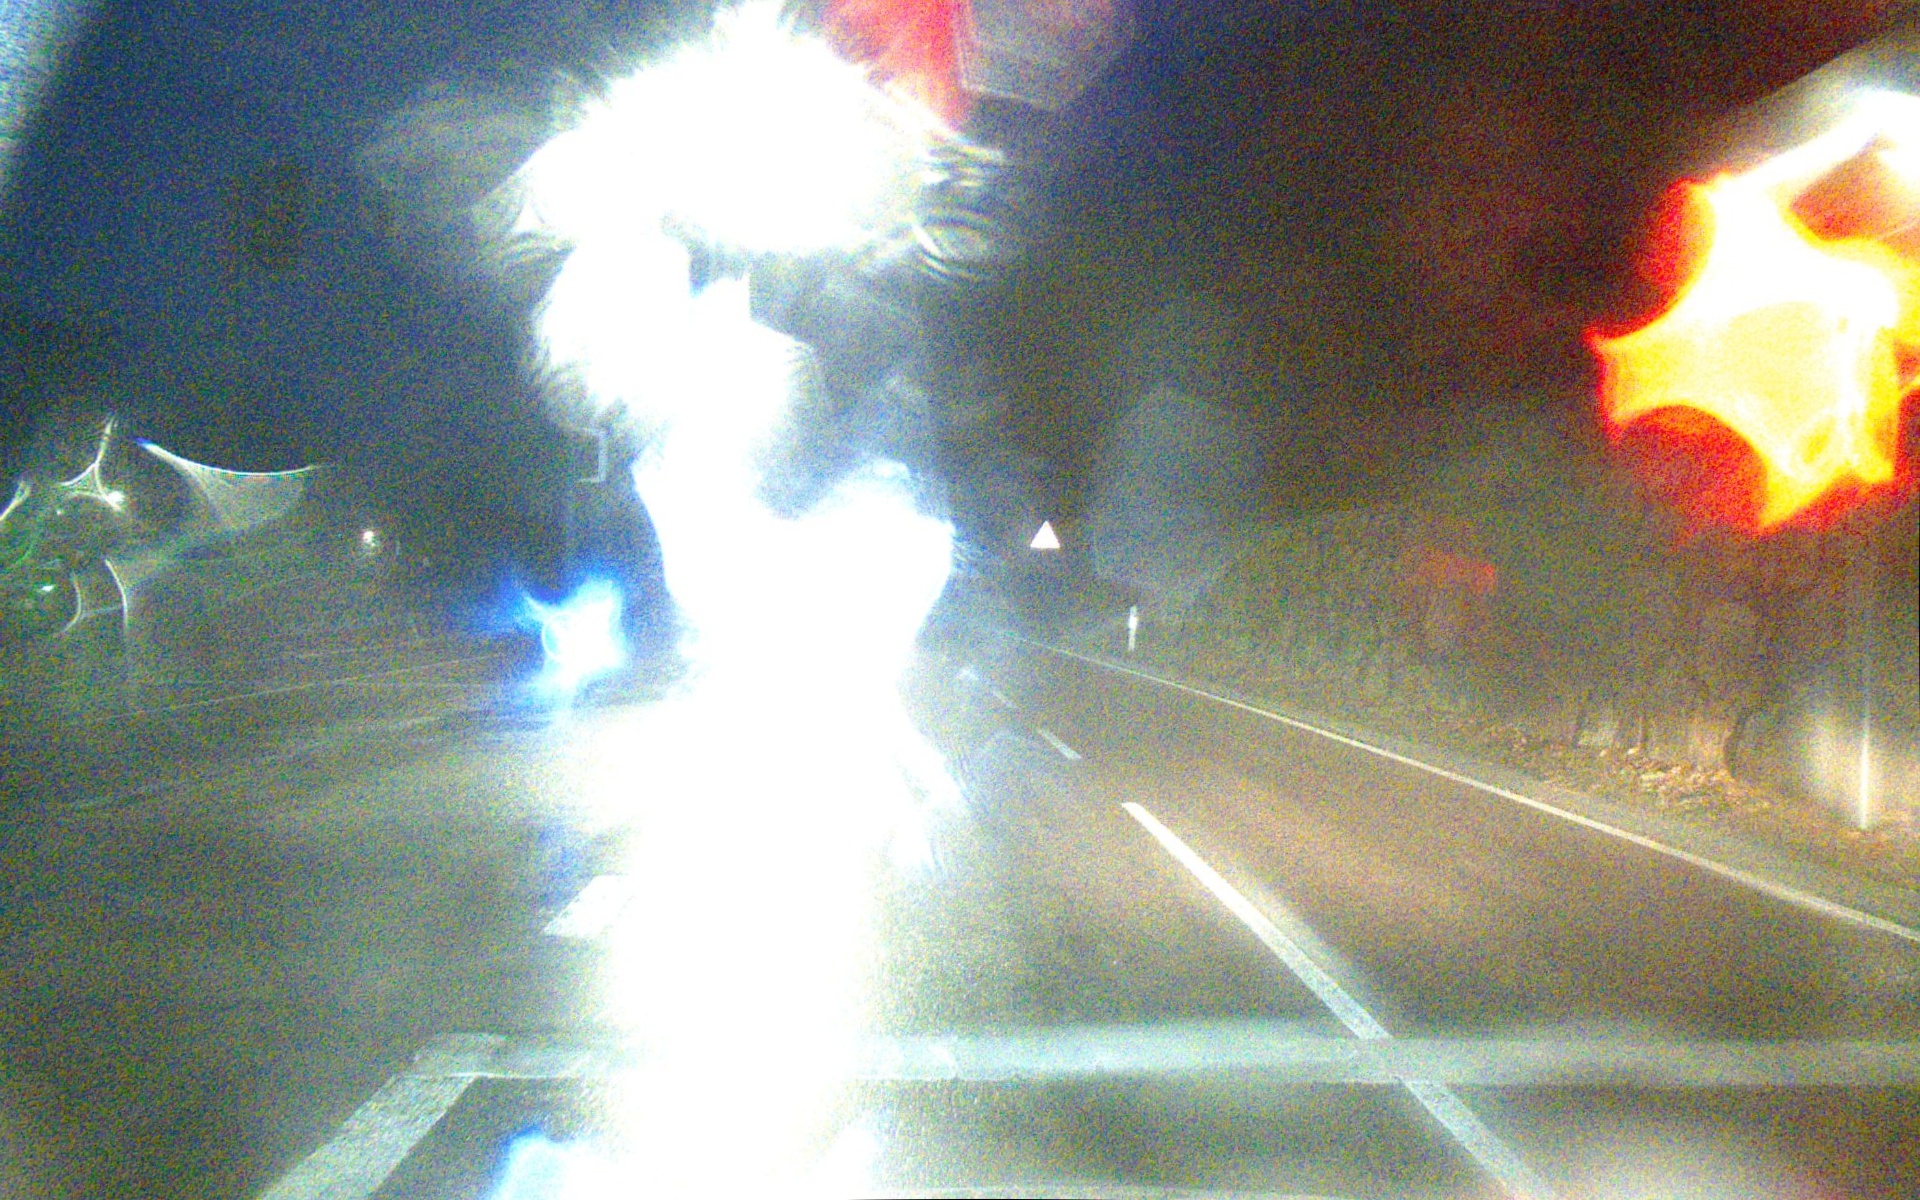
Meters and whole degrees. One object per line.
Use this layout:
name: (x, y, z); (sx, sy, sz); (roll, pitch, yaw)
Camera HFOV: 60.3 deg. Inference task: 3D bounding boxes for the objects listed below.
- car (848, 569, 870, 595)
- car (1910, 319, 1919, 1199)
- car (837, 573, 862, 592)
car: (-8.336, -1.495, 136.684); (1.755, 2.057, 4.577); (1, 0, -3)
car: (2.936, 0.475, 1.132); (1.756, 2.057, 4.576); (1, 0, -3)
car: (-11.830, -1.890, 177.541); (1.952, 1.746, 4.002); (5, -1, 4)
